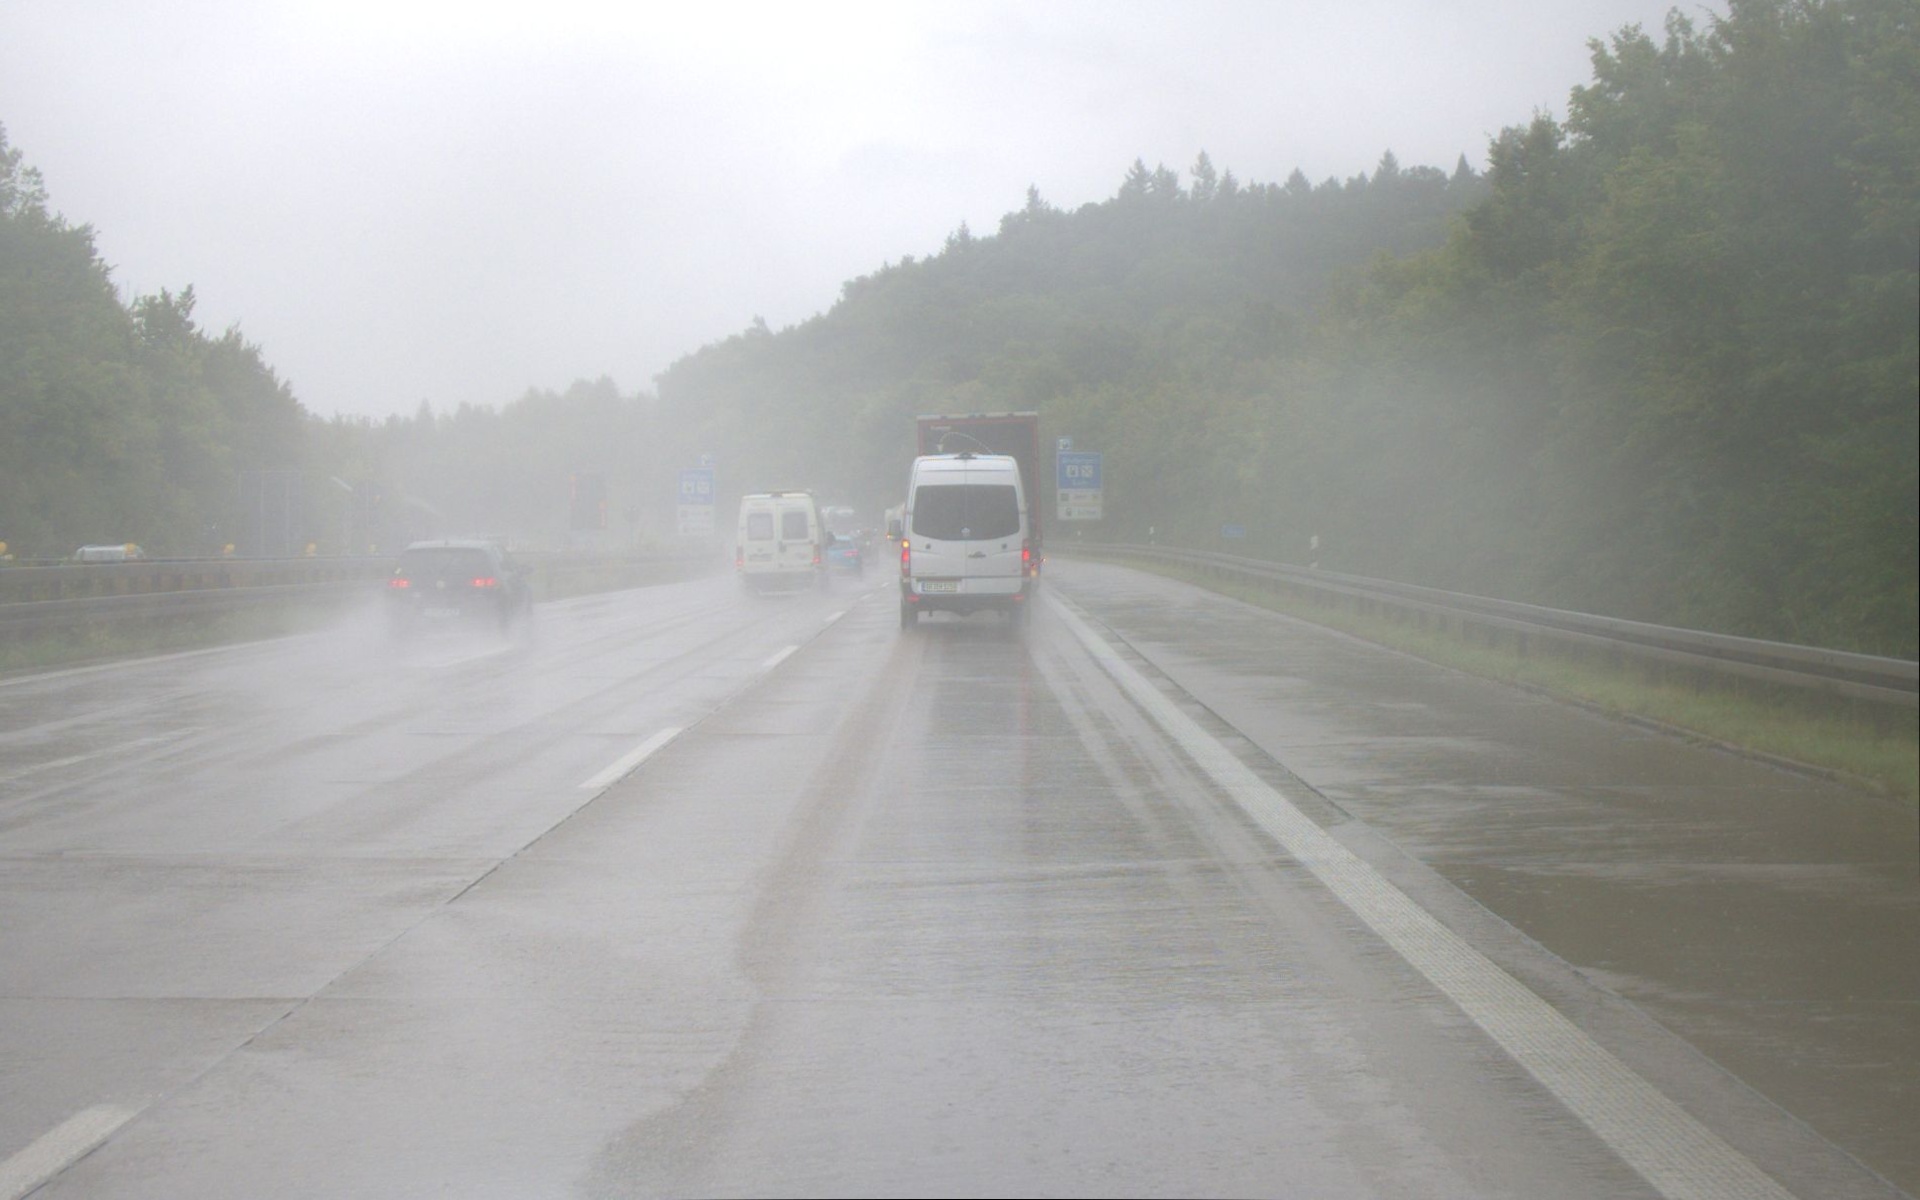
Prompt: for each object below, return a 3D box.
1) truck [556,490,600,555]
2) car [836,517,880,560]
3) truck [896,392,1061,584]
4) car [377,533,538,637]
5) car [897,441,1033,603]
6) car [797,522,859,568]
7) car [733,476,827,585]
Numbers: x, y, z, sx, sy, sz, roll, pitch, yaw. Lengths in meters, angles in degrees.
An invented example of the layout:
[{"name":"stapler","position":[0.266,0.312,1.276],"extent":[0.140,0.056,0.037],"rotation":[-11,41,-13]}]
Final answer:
[{"name":"truck","position":[-19.120,-3.870,171.784],"extent":[1.993,3.158,6.735],"rotation":[-2,1,-7]},{"name":"car","position":[-4.425,-2.697,149.409],"extent":[1.868,1.803,4.189],"rotation":[2,1,-1]},{"name":"truck","position":[0.342,-2.613,77.157],"extent":[3.385,3.954,8.668],"rotation":[-2,3,-1]},{"name":"car","position":[-7.012,-0.235,48.358],"extent":[1.740,1.383,4.322],"rotation":[-1,1,-2]},{"name":"car","position":[0.028,-1.214,53.221],"extent":[1.899,2.326,5.251],"rotation":[2,1,-1]},{"name":"car","position":[-4.203,-1.754,108.908],"extent":[1.856,1.334,4.352],"rotation":[2,1,-3]},{"name":"car","position":[-4.242,-1.658,81.607],"extent":[1.997,2.423,5.791],"rotation":[2,1,-1]}]
